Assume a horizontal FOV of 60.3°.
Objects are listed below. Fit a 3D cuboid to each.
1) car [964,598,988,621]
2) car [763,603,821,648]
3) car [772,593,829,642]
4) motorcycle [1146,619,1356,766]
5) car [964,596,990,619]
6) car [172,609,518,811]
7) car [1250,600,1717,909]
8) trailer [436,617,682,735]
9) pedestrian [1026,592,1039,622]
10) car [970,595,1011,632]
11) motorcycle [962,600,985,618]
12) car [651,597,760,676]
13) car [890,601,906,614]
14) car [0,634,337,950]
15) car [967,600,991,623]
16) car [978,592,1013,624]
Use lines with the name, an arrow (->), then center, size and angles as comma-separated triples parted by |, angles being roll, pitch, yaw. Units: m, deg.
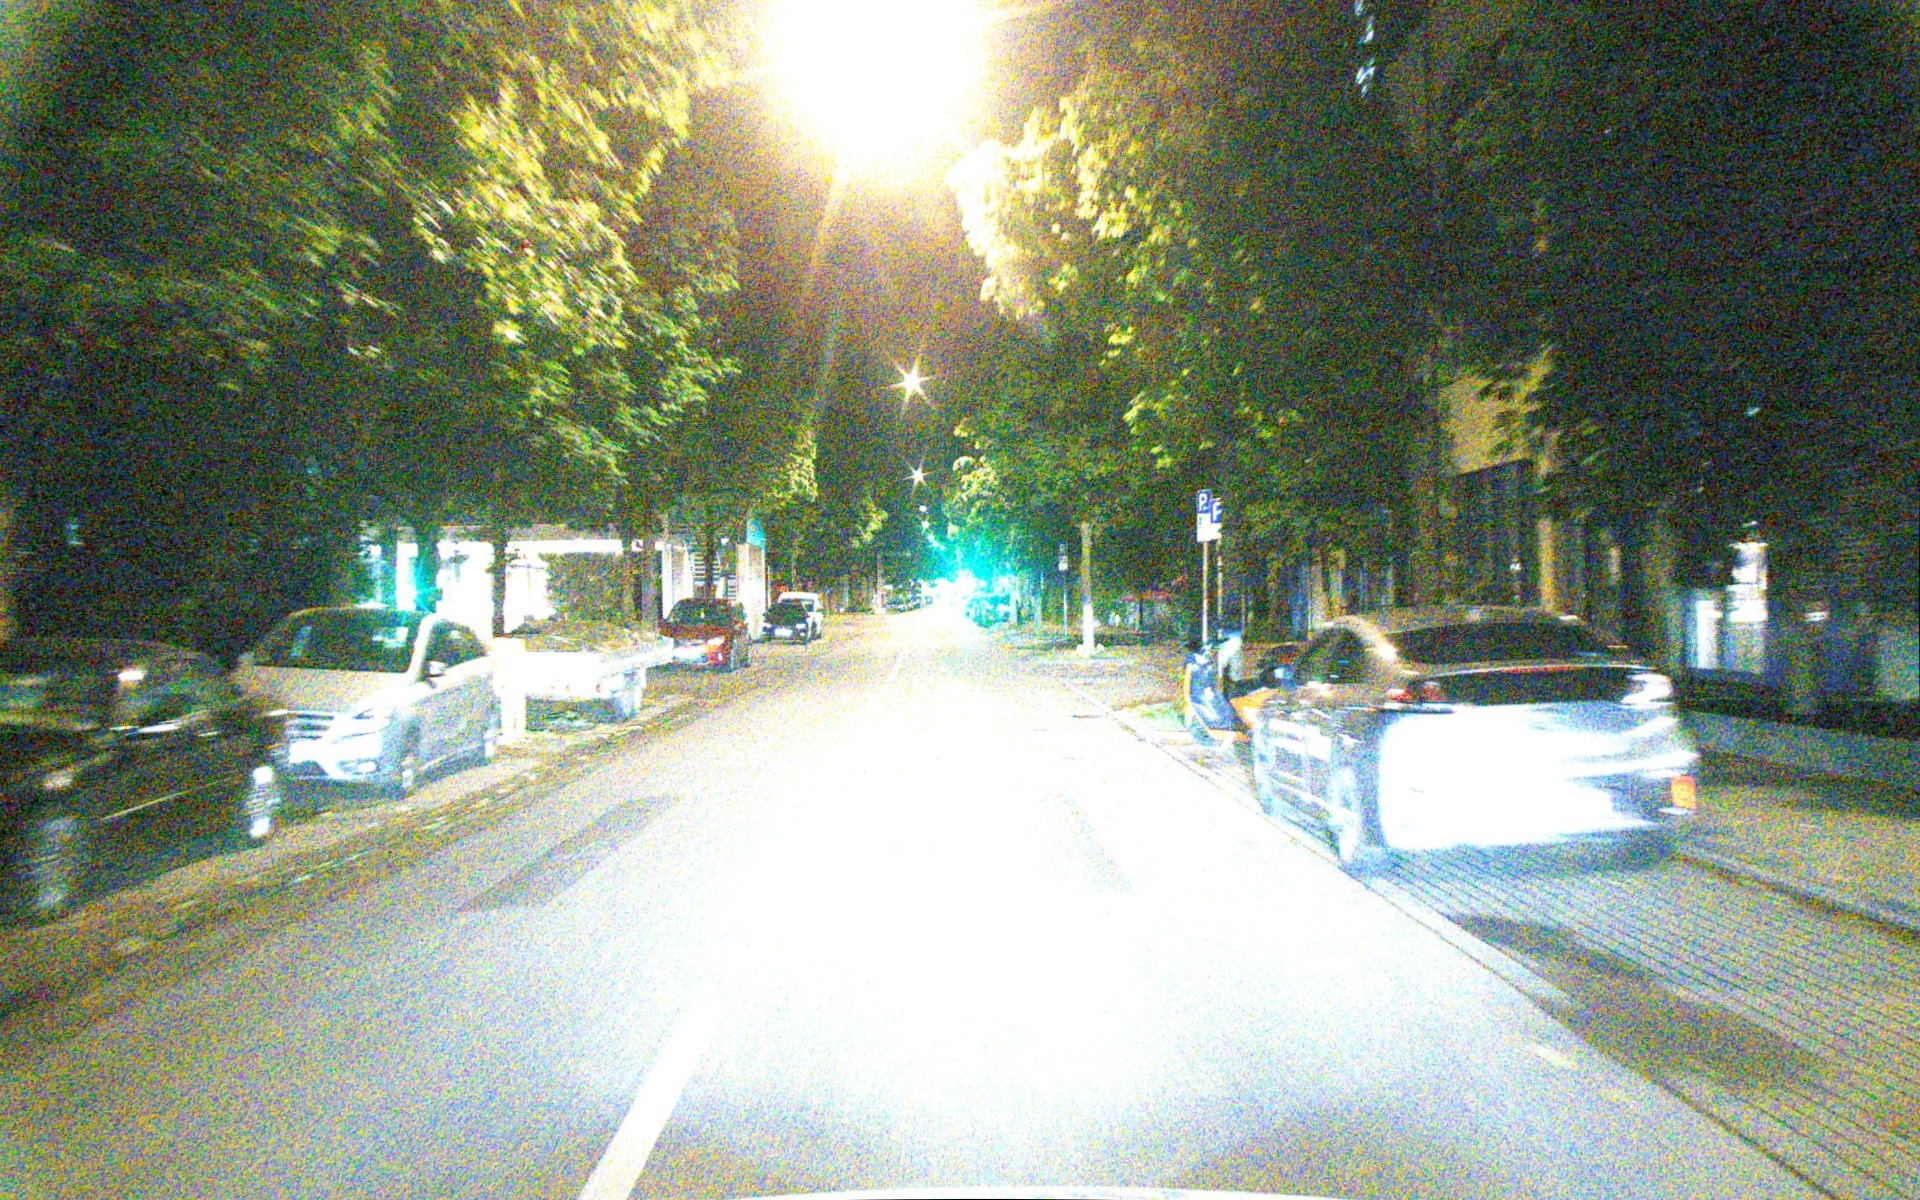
car -> 1.144, 0.658, 118.295 | 1.559, 1.561, 4.137 | -3, 0, -1
car -> -6.050, 0.898, 59.966 | 1.665, 1.458, 3.828 | 2, 0, 0
car -> -6.372, 0.678, 66.404 | 1.785, 1.843, 4.210 | 2, 0, 0
motorcycle -> 2.827, 0.862, 16.355 | 0.914, 1.306, 2.216 | -2, 0, -25
car -> 1.290, 0.553, 125.506 | 1.815, 1.618, 4.299 | -1, 0, -1
car -> -5.472, 0.890, 15.318 | 1.682, 1.528, 4.204 | 2, 0, -2
car -> 2.980, 0.773, 10.345 | 1.634, 1.454, 4.148 | -3, 0, 1
trailer -> -5.445, 0.968, 23.286 | 2.067, 1.358, 5.435 | 2, 0, 0
pedestrian -> 4.320, 0.423, 98.984 | 0.691, 1.752, 0.821 | -2, 0, -1
car -> 1.475, 0.636, 80.885 | 1.815, 1.682, 4.209 | -3, 0, 0
motorcycle -> 1.009, 0.660, 121.973 | 0.625, 1.292, 2.058 | -1, 0, 34
car -> -5.793, 0.795, 38.071 | 1.785, 1.626, 4.073 | 2, 0, 0
car -> -7.061, 0.838, 188.781 | 1.705, 1.440, 3.751 | 0, 0, -1
car -> -5.479, 0.966, 10.097 | 1.670, 1.436, 4.632 | 1, -1, -1
car -> 1.252, 0.749, 108.829 | 1.489, 1.420, 3.984 | -2, 0, 0
car -> 2.124, 0.486, 100.969 | 1.736, 1.838, 4.275 | -3, 0, -3
